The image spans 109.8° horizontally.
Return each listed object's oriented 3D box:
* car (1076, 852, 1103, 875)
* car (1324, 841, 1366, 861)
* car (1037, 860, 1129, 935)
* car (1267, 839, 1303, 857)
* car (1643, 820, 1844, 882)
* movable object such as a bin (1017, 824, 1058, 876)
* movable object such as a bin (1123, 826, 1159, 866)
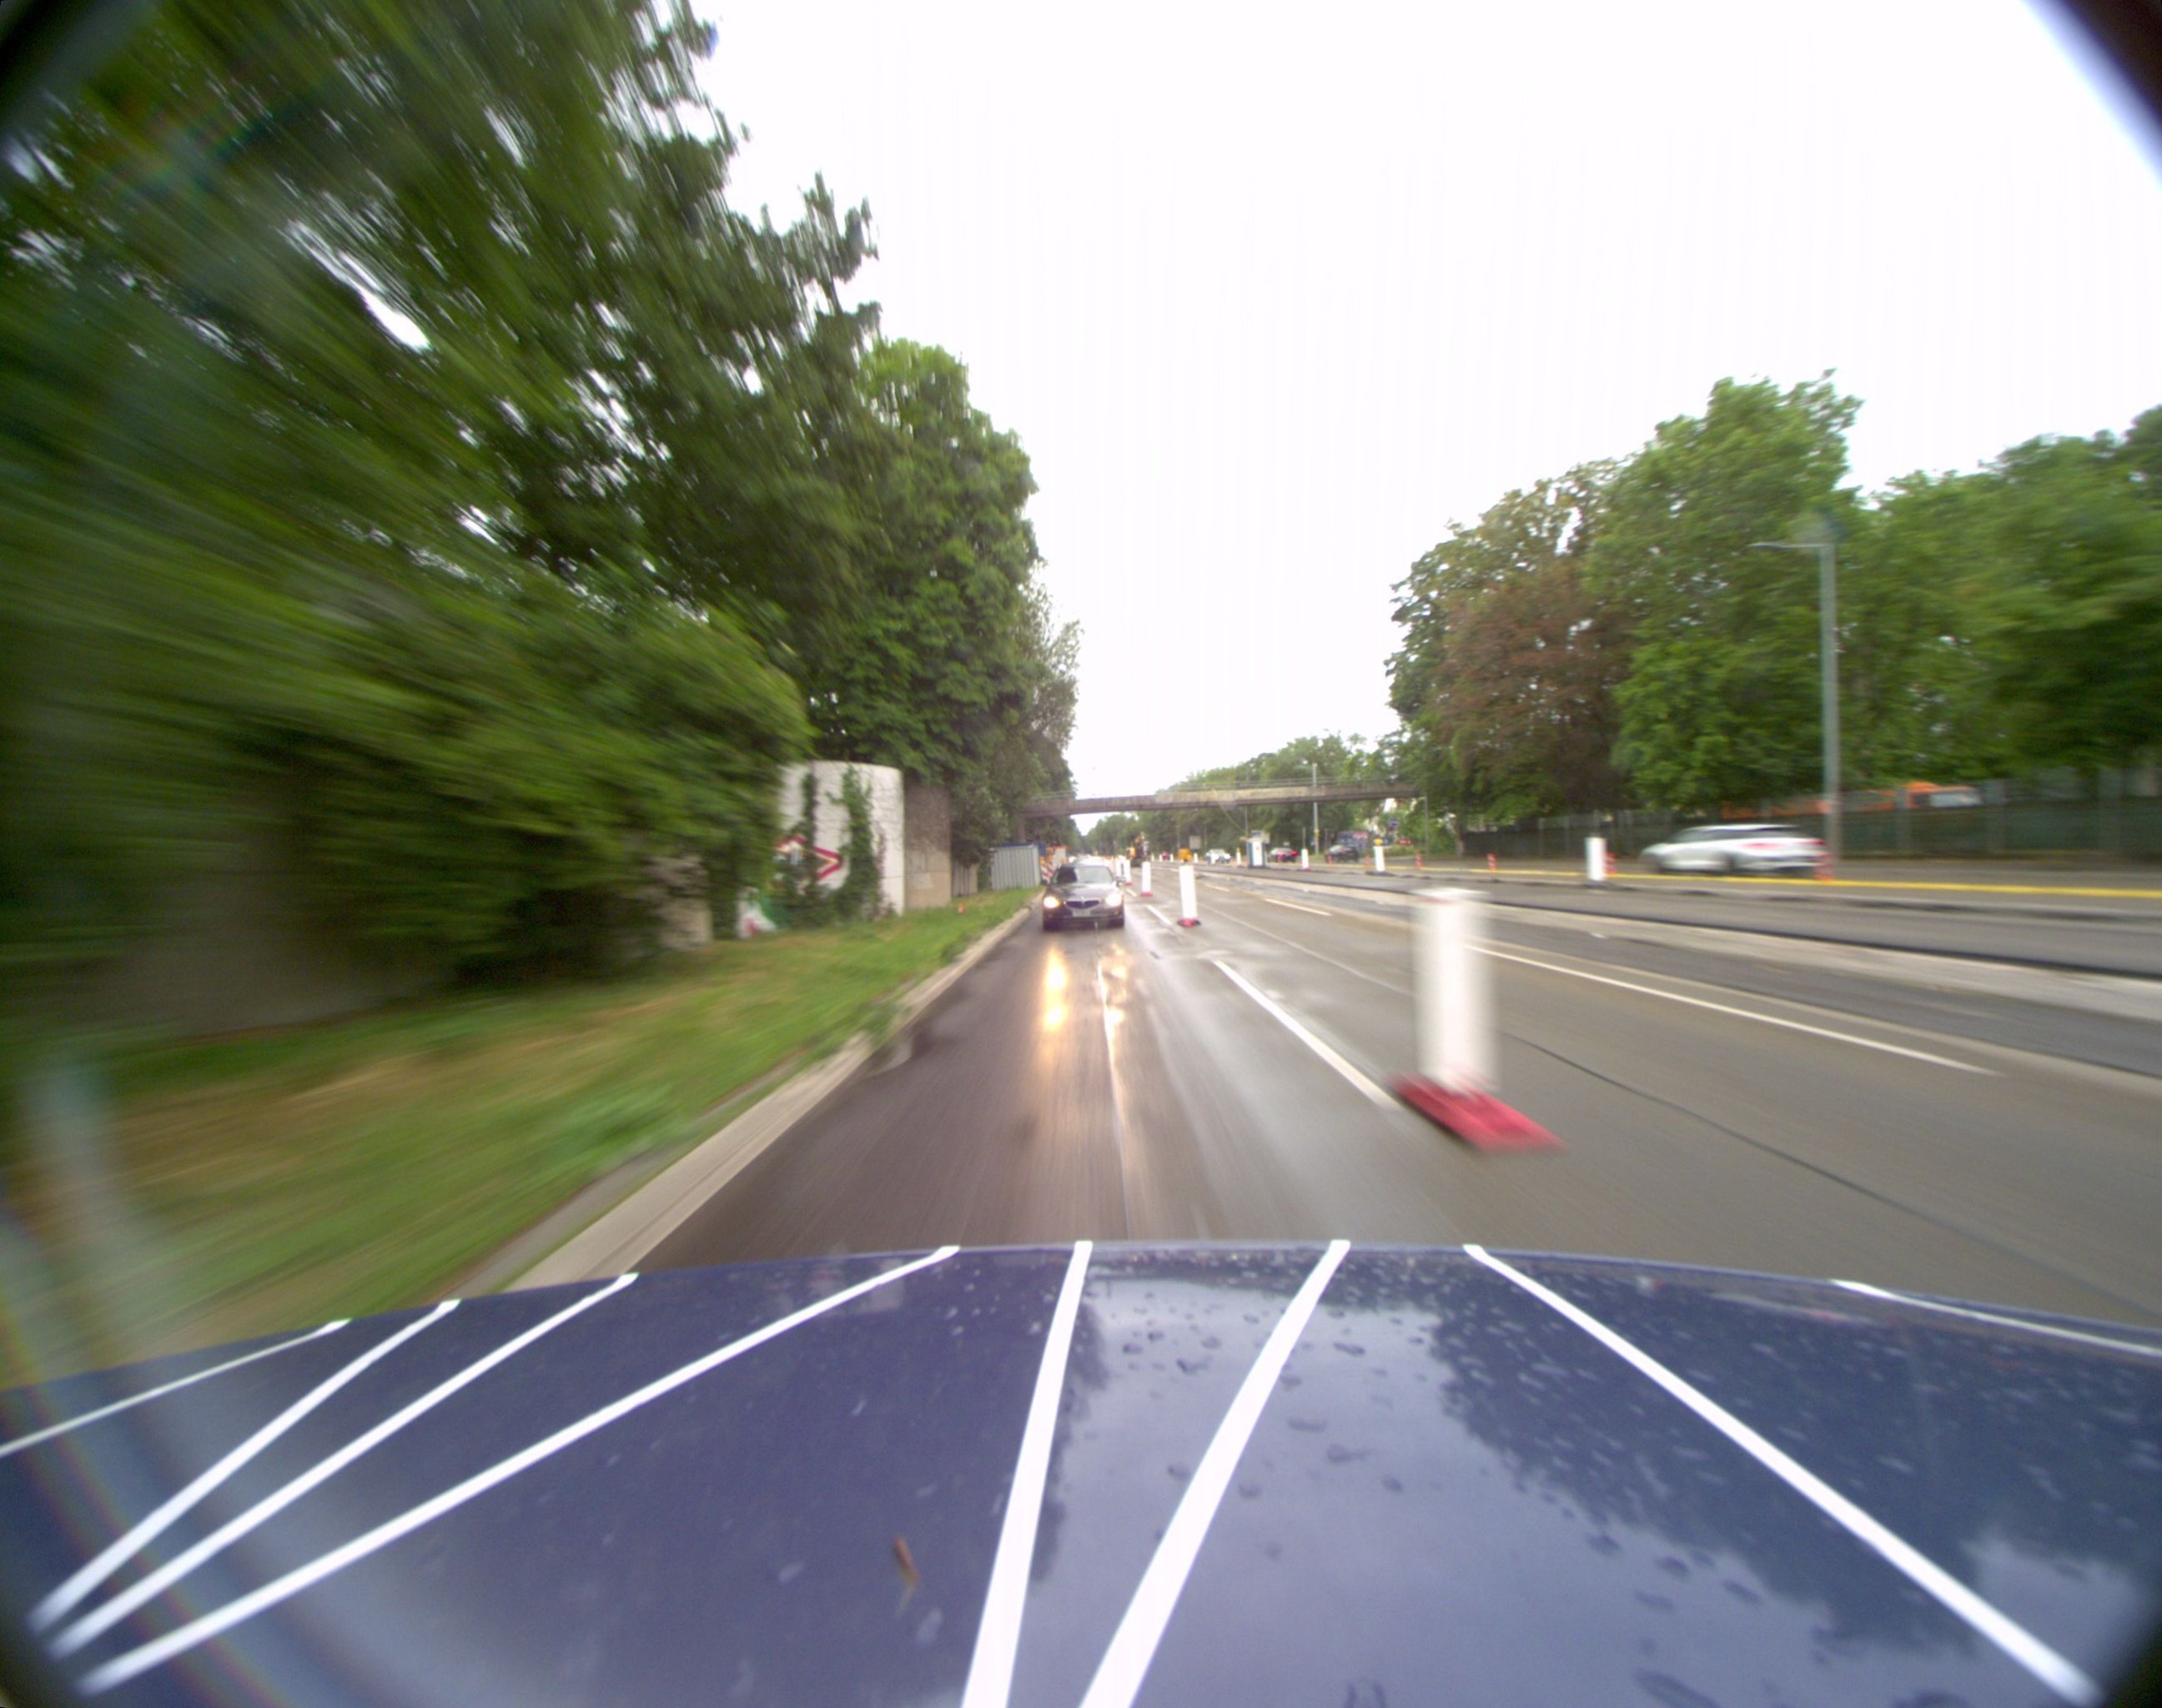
[{"bbox_3d":[0.650,0.733,60.193,1.998,1.650,4.229,-3,1,1],"label":"car"},{"bbox_3d":[21.985,-0.261,63.537,1.998,1.509,4.304,-3,1,1],"label":"car"},{"bbox_3d":[0.017,0.912,17.795,1.838,1.397,3.999,-3,1,-1],"label":"car"},{"bbox_3d":[19.206,-0.533,71.705,2.083,1.504,5.089,-3,0,1],"label":"car"},{"bbox_3d":[18.642,-0.084,21.703,1.998,1.504,4.266,-3,0,1],"label":"car"},{"bbox_3d":[-3.443,-0.335,62.174,2.890,3.917,6.104,-3,1,-1],"label":"movable object such as a bin"},{"bbox_3d":[7.322,-1.036,94.060,3.526,4.495,10.069,-3,1,1],"label":"movable object such as a bin"}]
